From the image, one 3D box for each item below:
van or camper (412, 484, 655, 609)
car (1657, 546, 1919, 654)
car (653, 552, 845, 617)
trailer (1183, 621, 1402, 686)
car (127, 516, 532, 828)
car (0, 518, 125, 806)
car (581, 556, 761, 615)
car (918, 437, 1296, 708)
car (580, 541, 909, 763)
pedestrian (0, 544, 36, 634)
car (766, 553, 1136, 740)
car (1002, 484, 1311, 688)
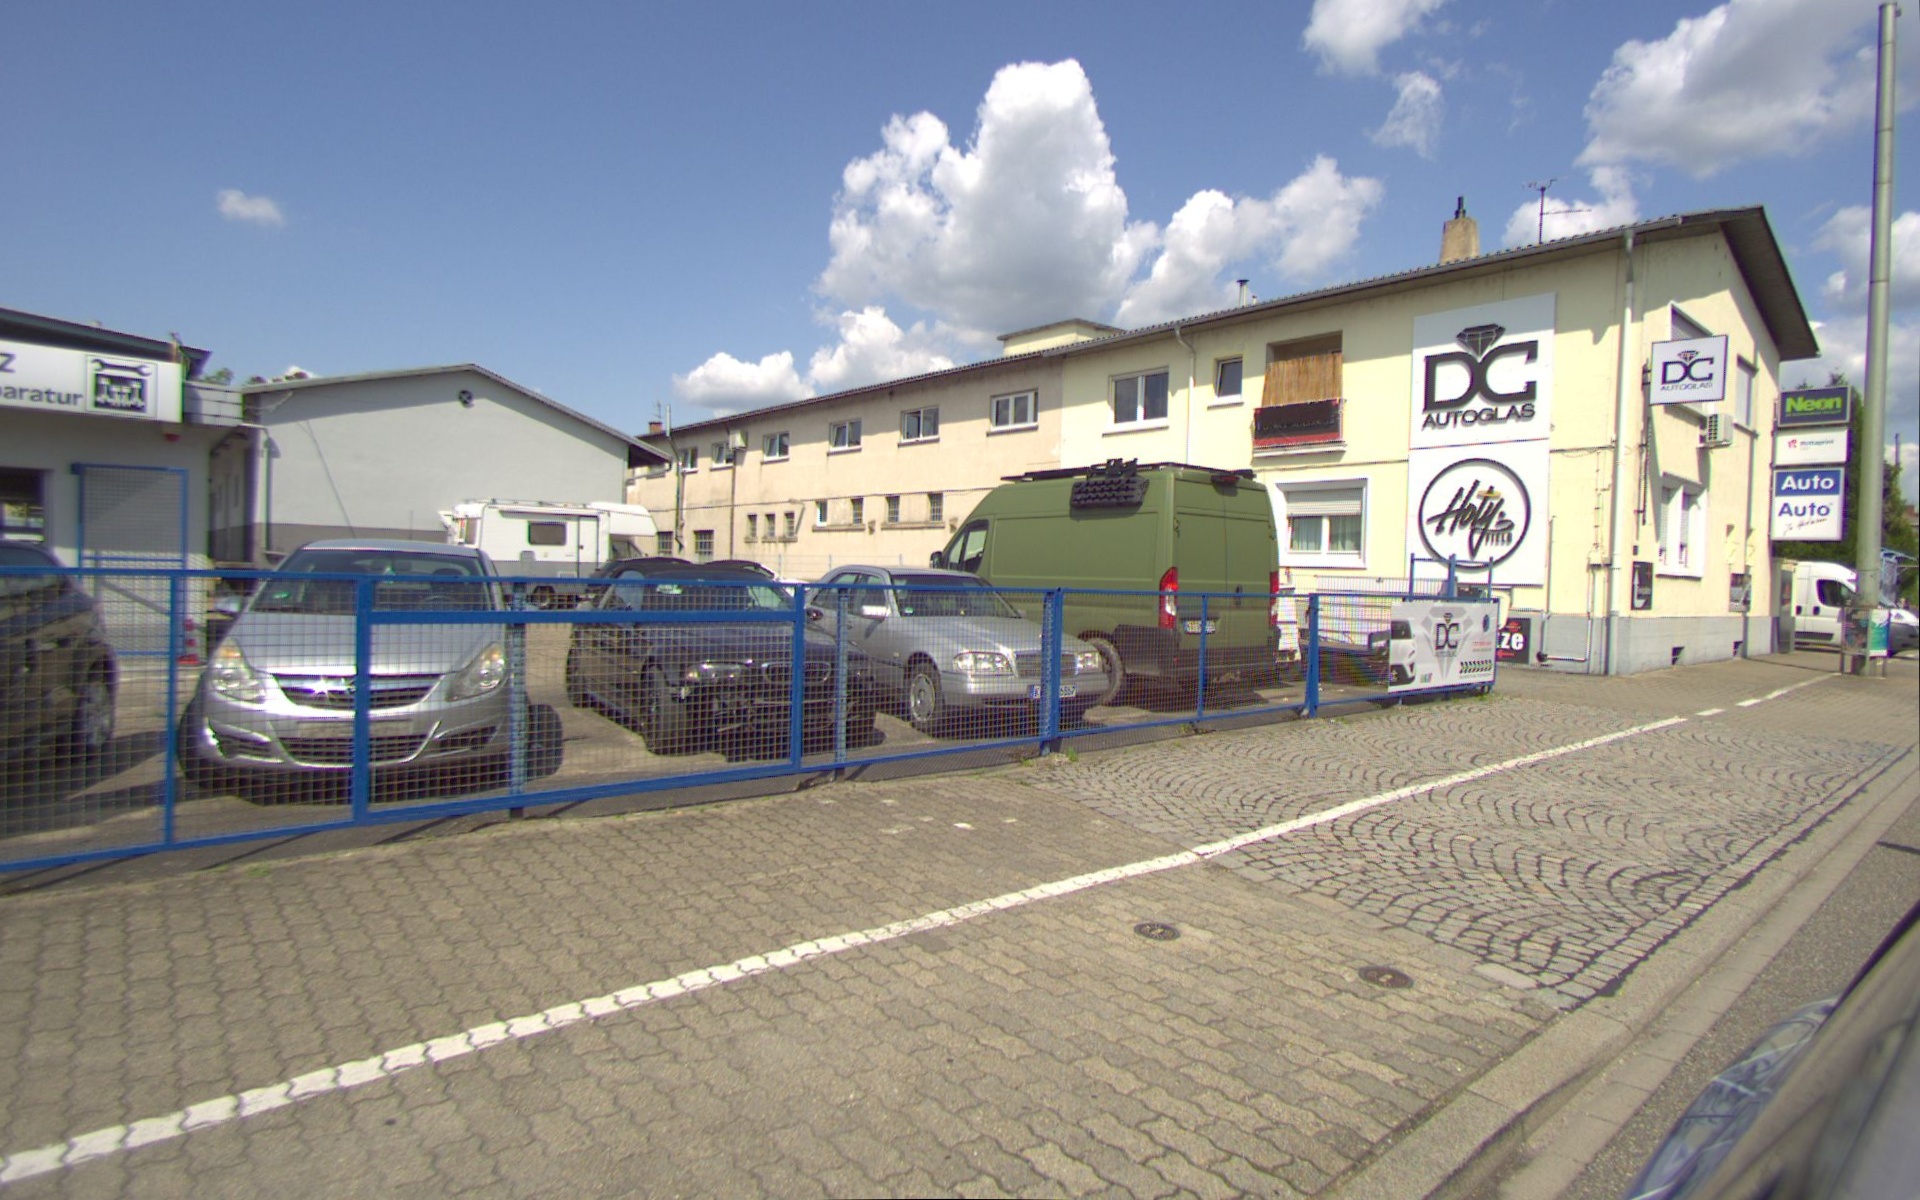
[{"bbox_3d":[-11.304,-1.324,27.119,5.556,3.002,2.272,0,2,-42],"label":"van or camper"},{"bbox_3d":[22.741,-0.104,27.469,2.055,2.493,5.838,0,4,-39],"label":"car"},{"bbox_3d":[-4.844,-0.348,23.557,4.112,1.378,1.645,0,2,-41],"label":"car"},{"bbox_3d":[4.751,0.726,14.661,1.307,0.674,2.730,0,2,-42],"label":"trailer"},{"bbox_3d":[-3.896,0.282,6.850,1.736,1.470,3.778,1,2,-24],"label":"car"},{"bbox_3d":[-5.643,0.305,4.873,1.606,1.470,3.700,1,2,-25],"label":"car"},{"bbox_3d":[-7.307,-0.358,25.819,4.112,1.378,1.645,0,2,-41],"label":"car"},{"bbox_3d":[1.589,-0.349,12.266,2.075,2.675,4.208,1,2,-39],"label":"car"},{"bbox_3d":[-2.126,0.275,8.907,1.737,1.470,4.128,1,2,-28],"label":"car"},{"bbox_3d":[-13.160,-0.157,13.889,0.652,1.224,0.566,1,1,-39],"label":"pedestrian"},{"bbox_3d":[-0.336,0.288,10.213,1.679,1.470,4.292,1,2,-33],"label":"car"},{"bbox_3d":[2.583,-0.246,14.203,1.557,2.436,4.208,1,2,-39],"label":"car"}]
